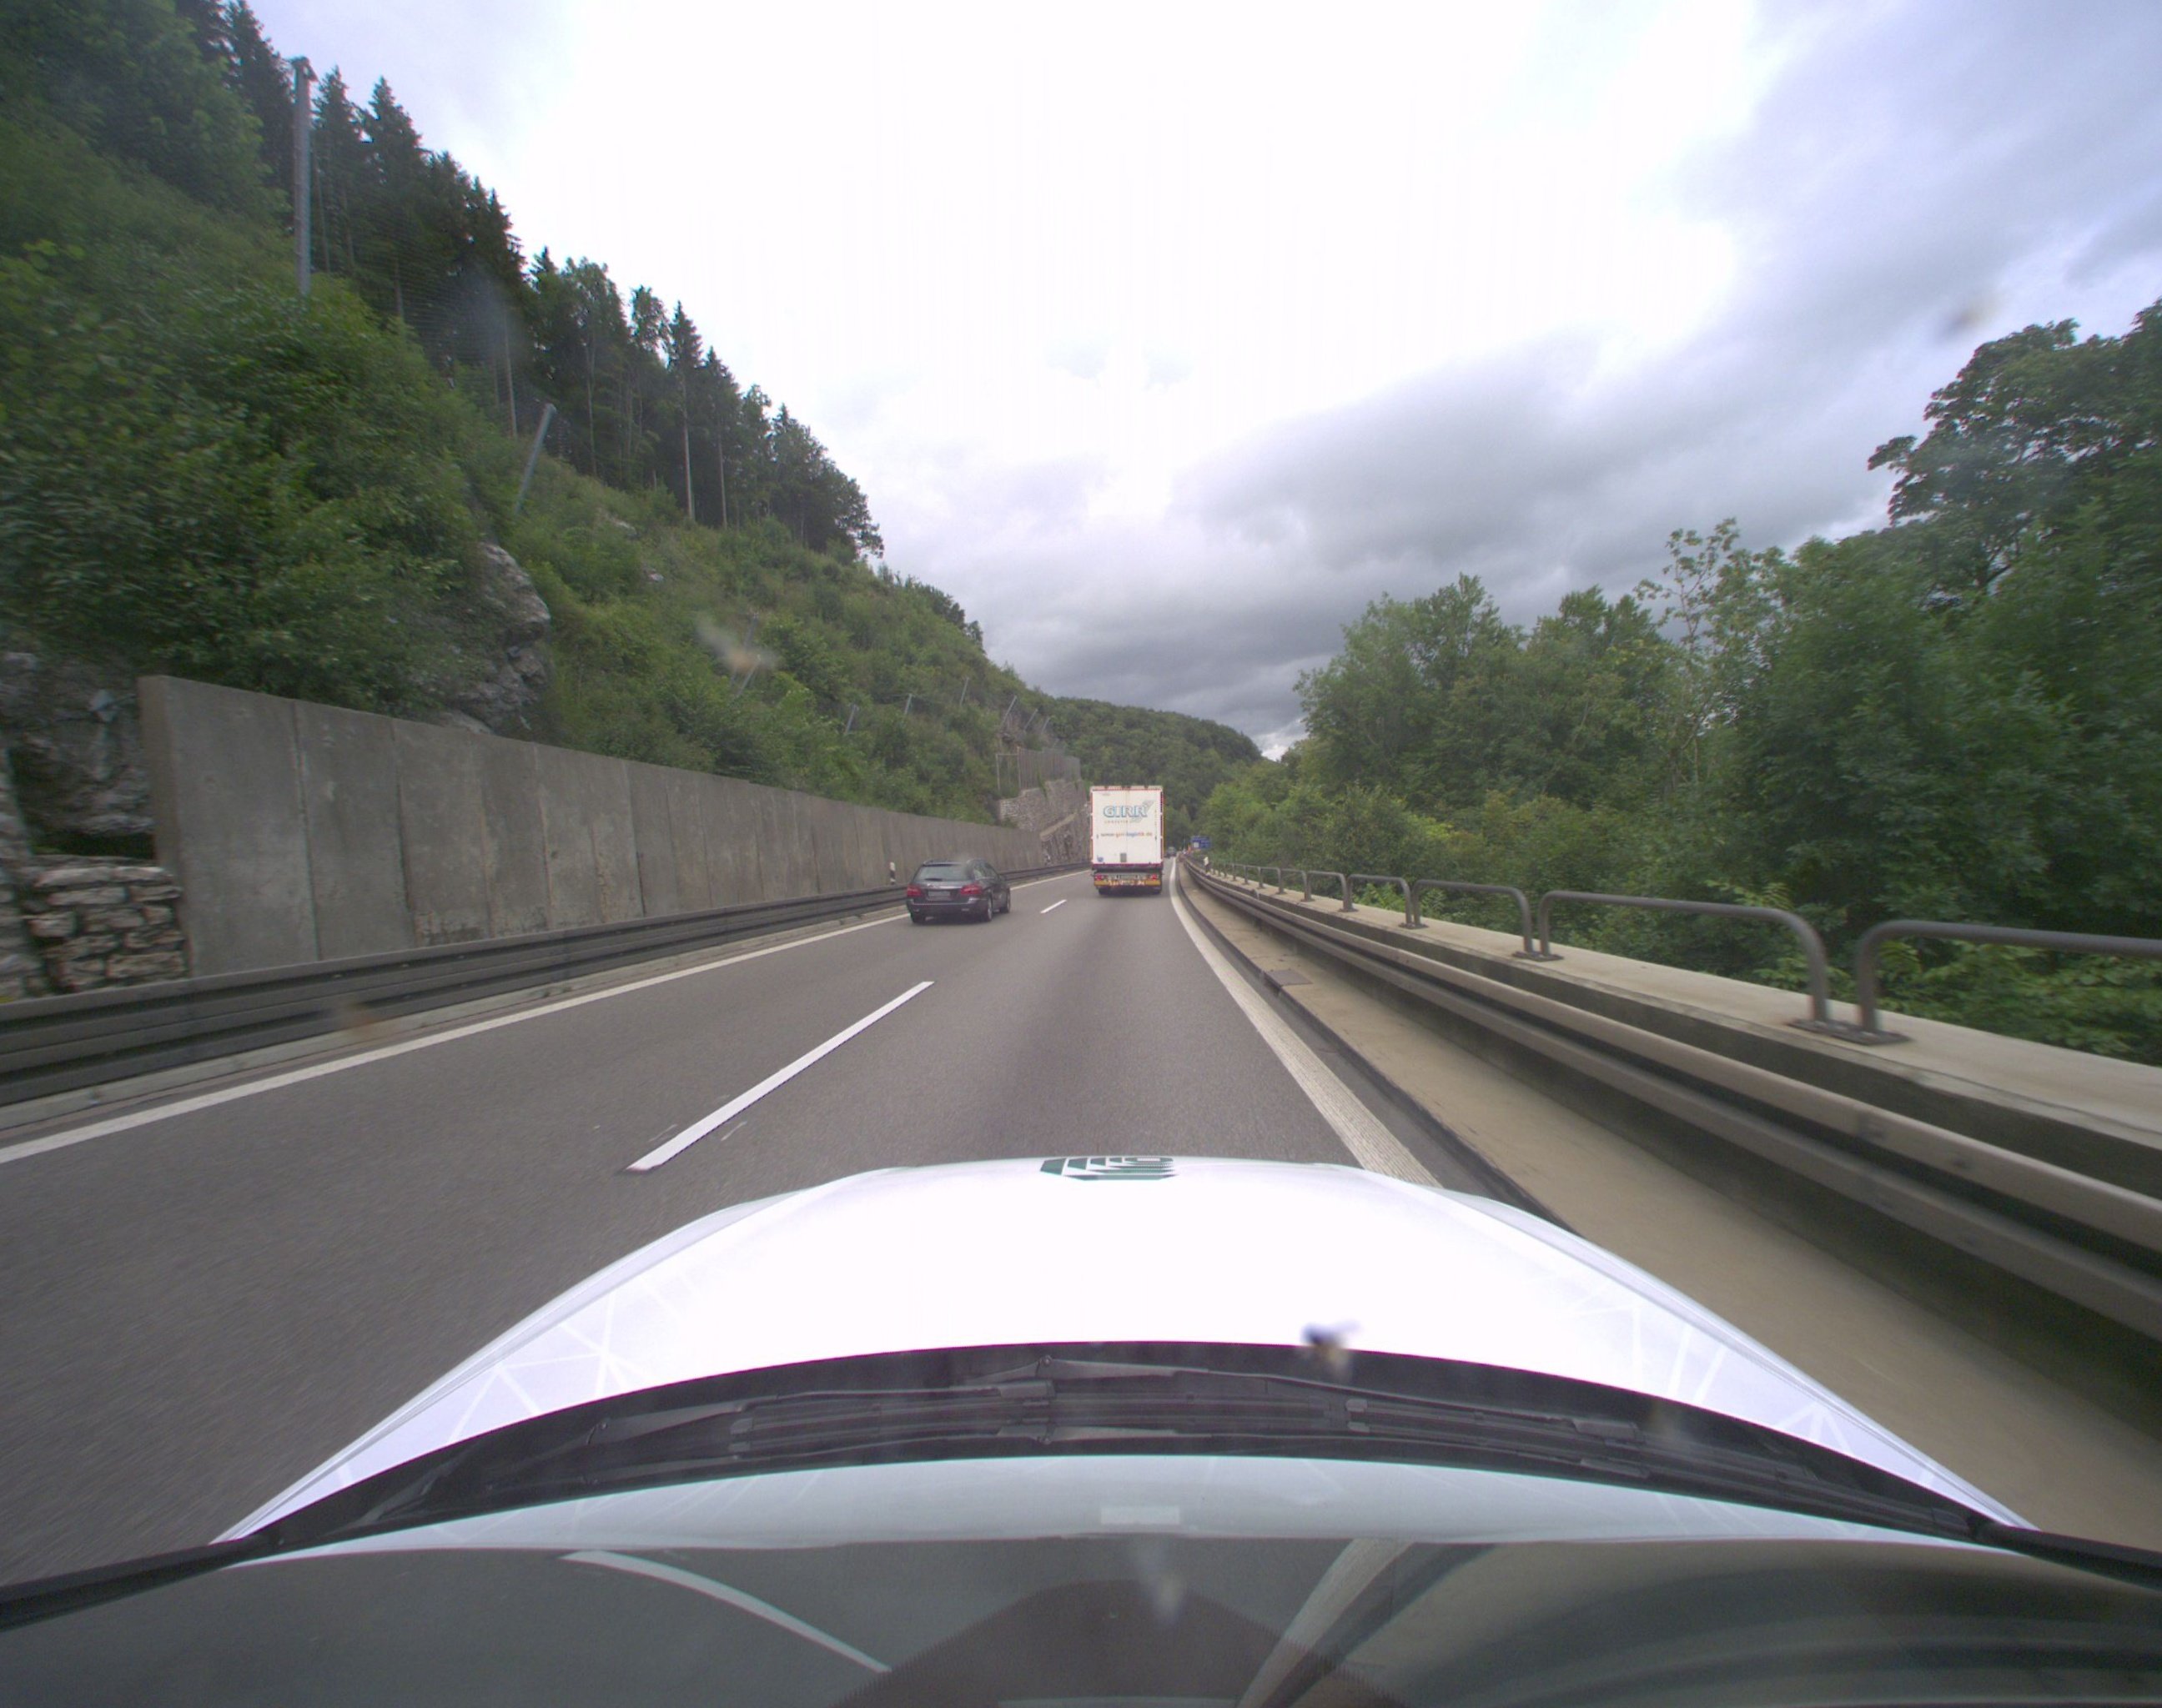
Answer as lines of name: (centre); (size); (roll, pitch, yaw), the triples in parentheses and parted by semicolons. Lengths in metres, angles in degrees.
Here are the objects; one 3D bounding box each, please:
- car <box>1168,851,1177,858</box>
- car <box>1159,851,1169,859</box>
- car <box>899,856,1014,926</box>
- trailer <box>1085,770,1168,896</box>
car: (24.245, 0.079, 215.375); (1.981, 1.764, 4.011); (-1, 0, 10)
car: (17.400, 0.205, 170.811); (1.984, 1.572, 4.005); (-1, 0, 5)
car: (-2.913, 0.824, 20.024); (1.875, 1.510, 4.422); (-1, 0, 3)
trailer: (2.090, -0.689, 34.157); (2.800, 4.302, 12.260); (-1, 0, 5)
